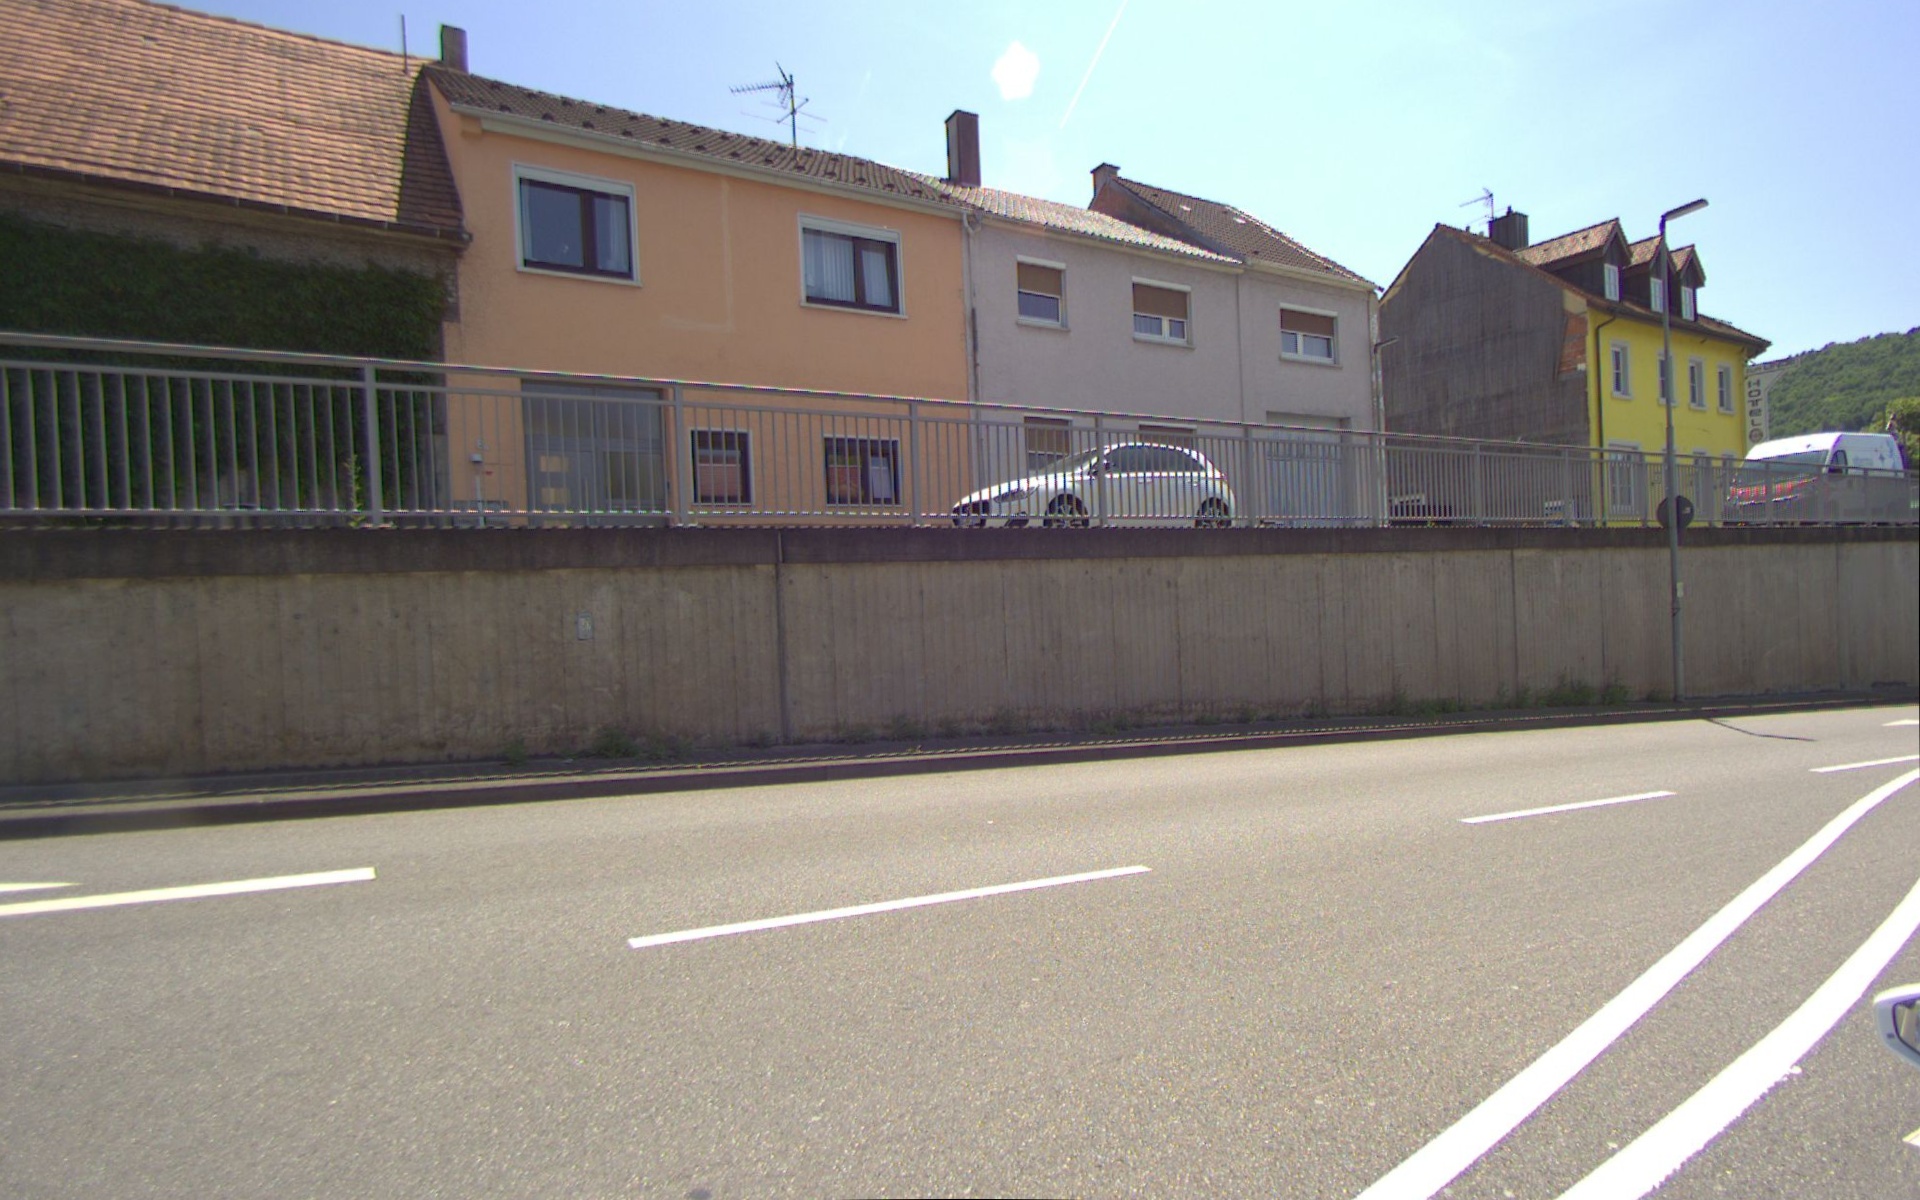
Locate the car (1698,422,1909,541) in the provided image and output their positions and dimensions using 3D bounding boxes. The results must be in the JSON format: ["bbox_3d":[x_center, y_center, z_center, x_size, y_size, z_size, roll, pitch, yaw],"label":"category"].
[{"bbox_3d":[20.761,-2.794,24.667,5.589,2.571,2.057,-2,2,-28],"label":"car"}]

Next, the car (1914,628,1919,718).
[{"bbox_3d":[18.263,1.261,17.130,4.316,1.509,1.752,1,-1,-30],"label":"car"}]

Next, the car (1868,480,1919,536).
[{"bbox_3d":[28.365,-2.667,29.372,3.996,1.521,1.611,-2,2,-31],"label":"car"}]

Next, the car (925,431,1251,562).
[{"bbox_3d":[1.820,-1.330,13.735,4.262,1.482,1.802,-3,2,-33],"label":"car"}]
